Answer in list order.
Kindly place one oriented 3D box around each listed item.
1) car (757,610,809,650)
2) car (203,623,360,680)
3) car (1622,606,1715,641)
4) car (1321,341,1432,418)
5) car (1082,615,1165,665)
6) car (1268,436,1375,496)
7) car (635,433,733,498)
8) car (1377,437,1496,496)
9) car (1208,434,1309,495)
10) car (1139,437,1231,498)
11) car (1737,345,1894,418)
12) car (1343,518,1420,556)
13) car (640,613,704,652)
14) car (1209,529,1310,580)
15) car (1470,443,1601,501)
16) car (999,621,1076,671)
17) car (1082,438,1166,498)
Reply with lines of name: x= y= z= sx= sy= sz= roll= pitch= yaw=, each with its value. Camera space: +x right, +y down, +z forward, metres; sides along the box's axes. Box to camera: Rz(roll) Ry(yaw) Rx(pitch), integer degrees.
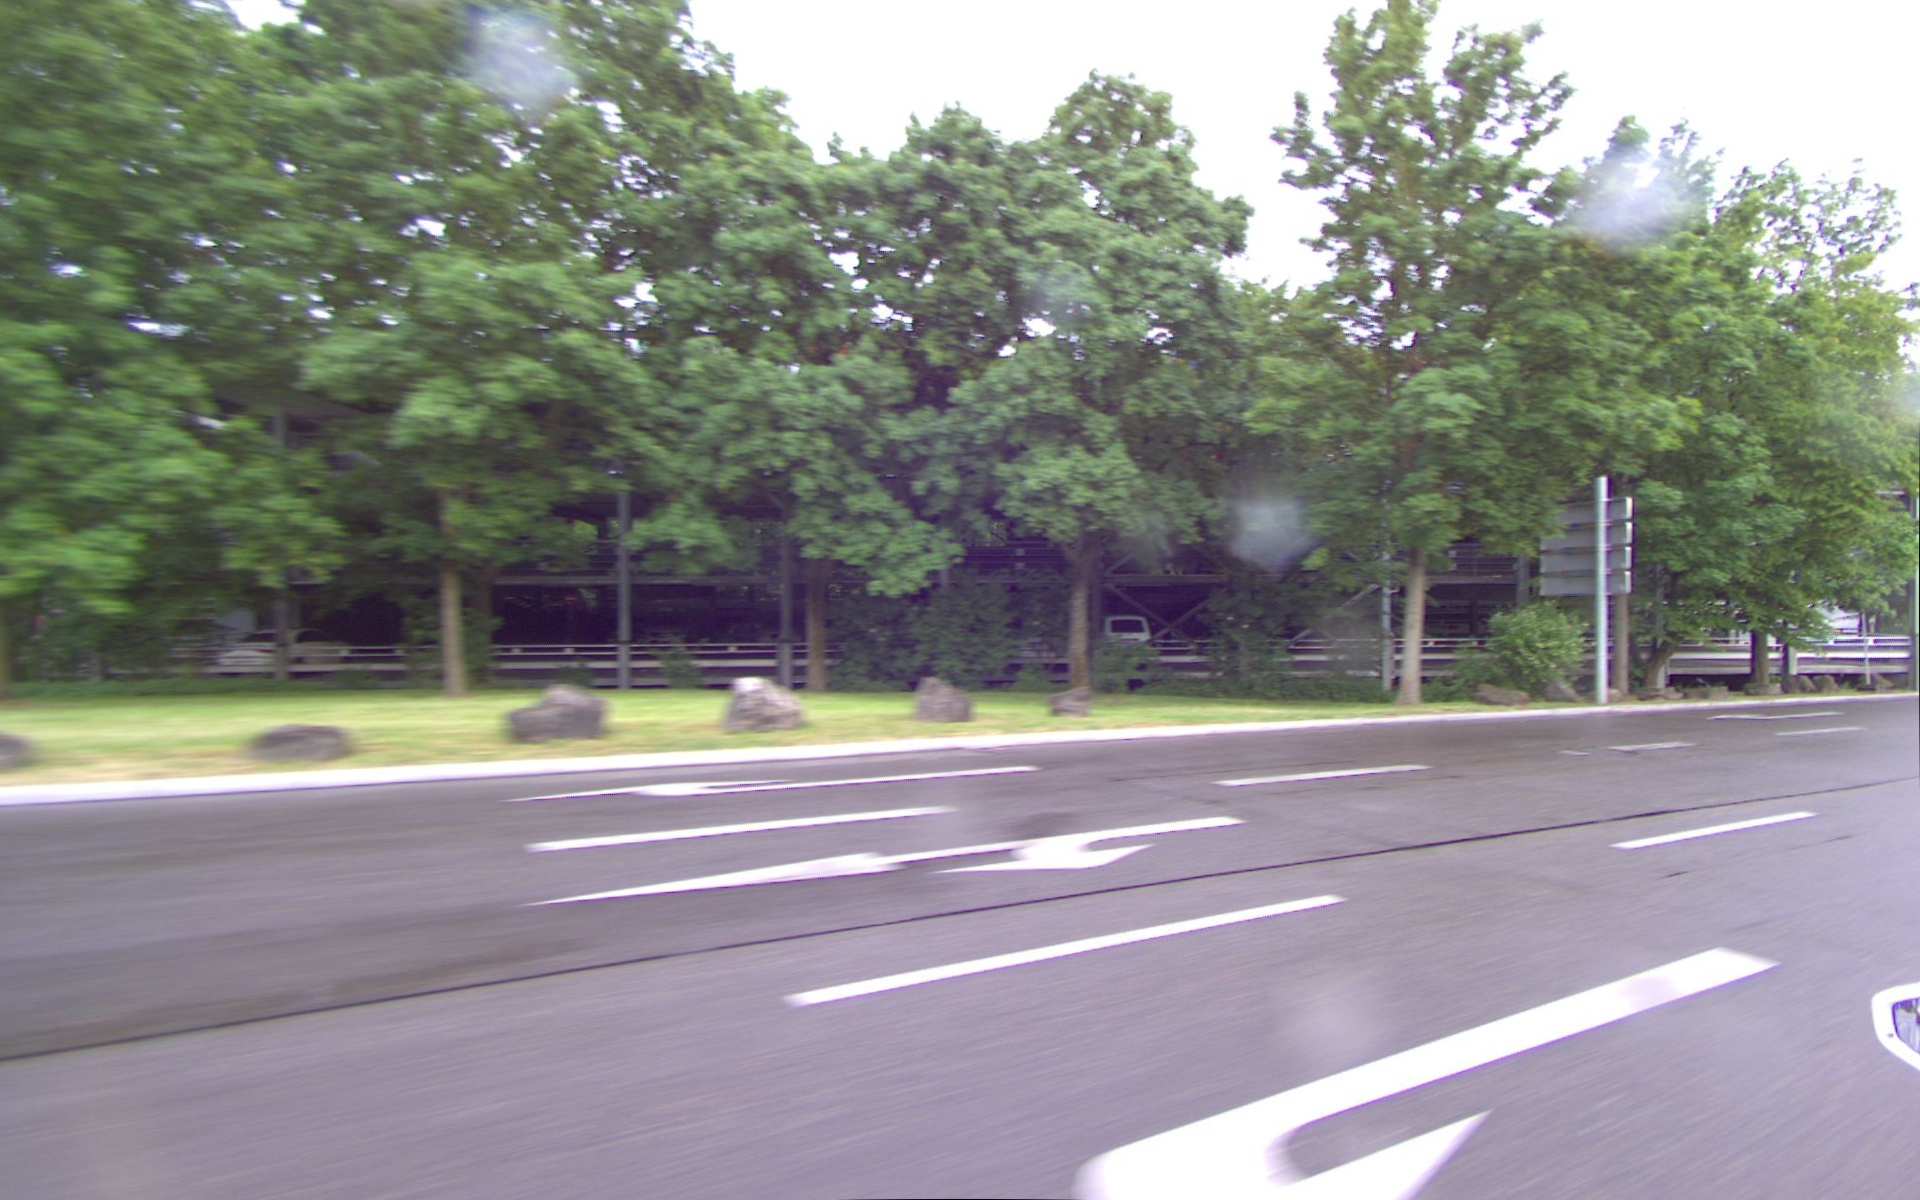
car: x=-7.248 y=1.242 z=41.490 sx=1.963 sy=1.539 sz=3.995 roll=1 pitch=-2 yaw=-8
car: x=-19.695 y=1.461 z=29.398 sx=1.961 sy=1.539 sz=3.999 roll=0 pitch=-2 yaw=-2
car: x=32.567 y=1.079 z=46.258 sx=1.557 sy=1.539 sz=3.469 roll=1 pitch=-1 yaw=-8
car: x=13.786 y=-7.269 z=33.481 sx=1.961 sy=1.539 sz=4.000 roll=0 pitch=-2 yaw=-2
car: x=5.276 y=1.289 z=32.963 sx=1.961 sy=1.539 sz=4.000 roll=0 pitch=-2 yaw=-2
car: x=11.751 y=-4.342 z=32.981 sx=1.961 sy=1.539 sz=3.998 roll=0 pitch=2 yaw=-2
car: x=-8.236 y=-3.988 z=30.370 sx=1.961 sy=1.539 sz=3.998 roll=0 pitch=2 yaw=-2
car: x=15.815 y=-4.395 z=33.565 sx=1.961 sy=1.539 sz=3.998 roll=0 pitch=2 yaw=-2
car: x=9.546 y=-4.309 z=32.435 sx=1.961 sy=1.539 sz=3.998 roll=0 pitch=2 yaw=-2
car: x=7.192 y=-4.220 z=32.524 sx=1.961 sy=1.539 sz=3.998 roll=0 pitch=2 yaw=-2
car: x=29.558 y=-7.514 z=34.887 sx=1.961 sy=1.539 sz=4.000 roll=0 pitch=-2 yaw=-2
car: x=21.141 y=-3.141 z=50.555 sx=1.962 sy=1.539 sz=3.998 roll=0 pitch=-2 yaw=-4
car: x=-11.791 y=1.330 z=41.400 sx=1.963 sy=1.539 sz=3.995 roll=1 pitch=-2 yaw=-8
car: x=9.623 y=-1.448 z=32.575 sx=1.961 sy=1.539 sz=3.998 roll=0 pitch=2 yaw=-2
car: x=18.971 y=-4.187 z=33.327 sx=1.961 sy=1.539 sz=3.998 roll=0 pitch=2 yaw=-2
car: x=2.444 y=1.458 z=32.542 sx=1.961 sy=1.539 sz=3.999 roll=0 pitch=-2 yaw=-3
car: x=5.257 y=-4.221 z=32.645 sx=1.961 sy=1.539 sz=3.998 roll=0 pitch=2 yaw=-2
